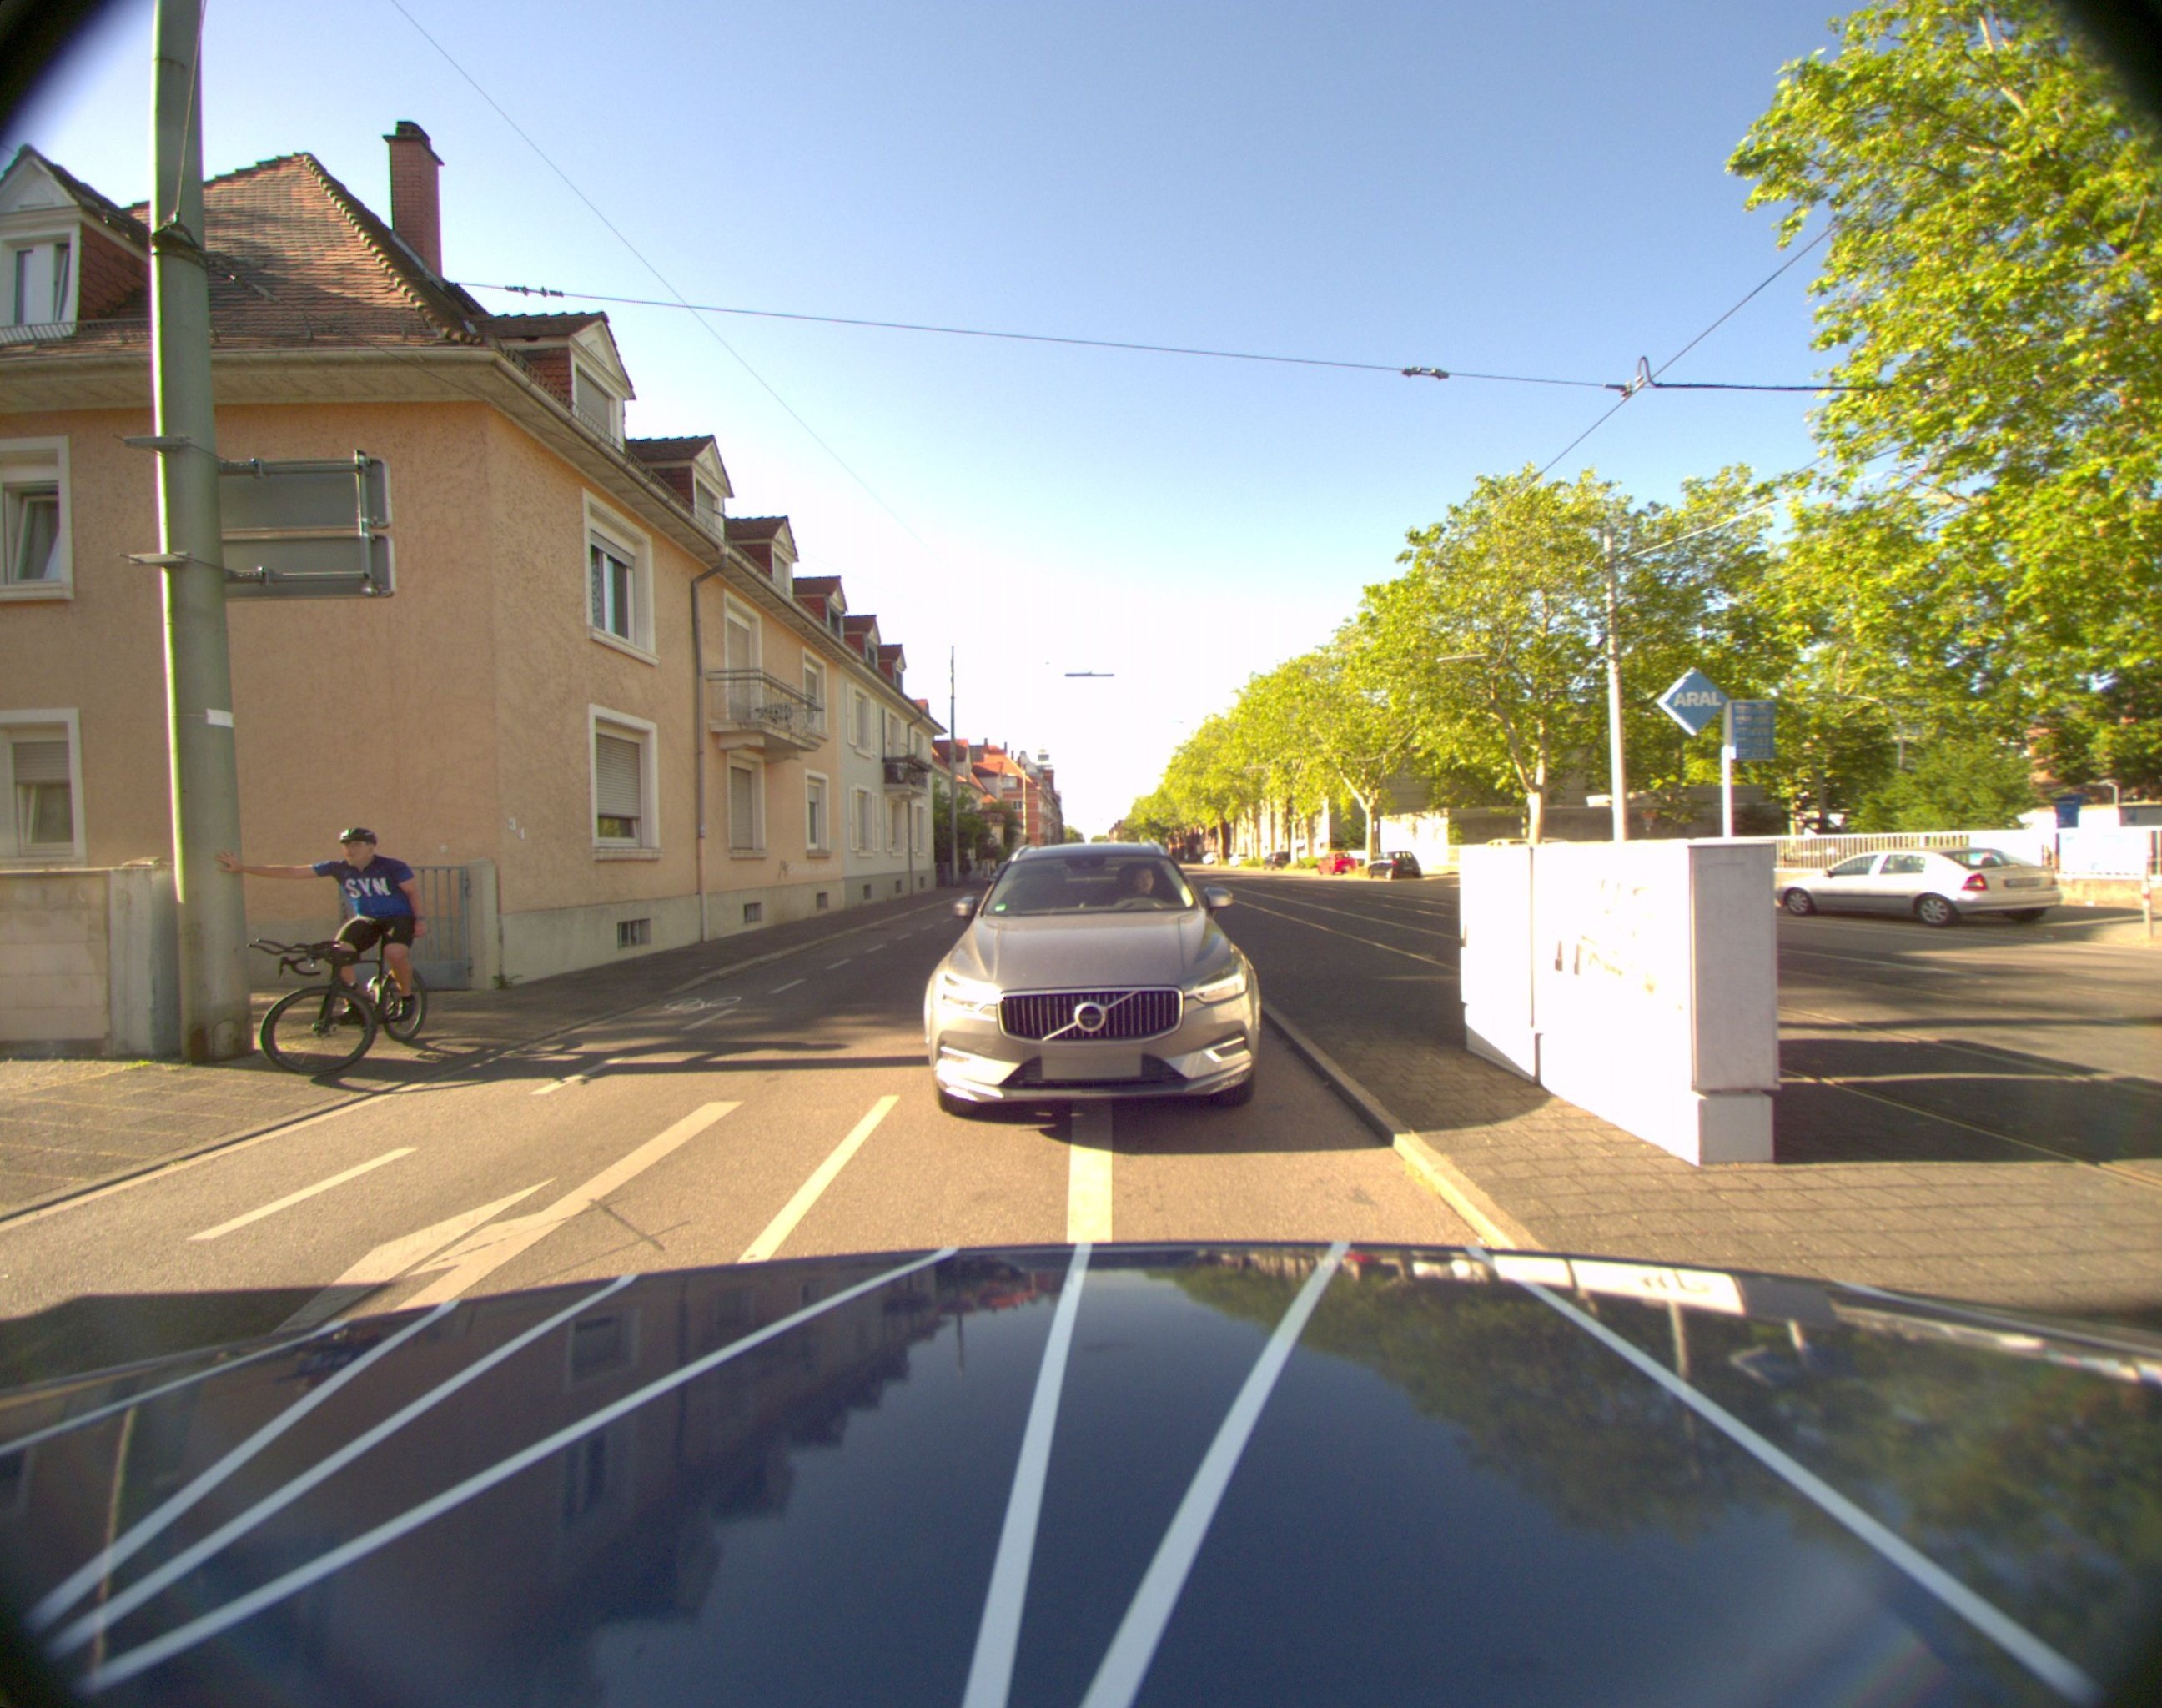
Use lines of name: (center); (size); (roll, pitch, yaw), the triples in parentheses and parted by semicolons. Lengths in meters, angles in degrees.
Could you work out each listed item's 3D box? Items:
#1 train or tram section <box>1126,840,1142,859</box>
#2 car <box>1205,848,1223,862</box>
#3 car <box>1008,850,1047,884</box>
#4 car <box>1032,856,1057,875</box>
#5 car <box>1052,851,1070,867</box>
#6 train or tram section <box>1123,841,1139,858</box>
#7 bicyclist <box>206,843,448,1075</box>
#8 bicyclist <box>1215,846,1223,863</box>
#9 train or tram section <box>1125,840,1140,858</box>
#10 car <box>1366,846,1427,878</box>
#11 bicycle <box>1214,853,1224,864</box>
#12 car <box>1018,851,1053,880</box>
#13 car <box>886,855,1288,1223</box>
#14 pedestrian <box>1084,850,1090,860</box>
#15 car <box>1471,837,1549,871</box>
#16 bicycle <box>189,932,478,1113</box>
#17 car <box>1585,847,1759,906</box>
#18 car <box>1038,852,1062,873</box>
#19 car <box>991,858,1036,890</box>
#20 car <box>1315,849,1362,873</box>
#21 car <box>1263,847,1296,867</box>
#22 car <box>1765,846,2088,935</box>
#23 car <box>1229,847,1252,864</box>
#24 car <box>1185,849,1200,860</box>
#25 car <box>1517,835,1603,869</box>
train or tram section: (10.036, -0.860, 145.777); (2.861, 3.456, 10.185); (-1, 0, 3)
car: (17.614, 0.071, 100.910); (1.845, 1.664, 4.098); (-4, 0, 3)
car: (-2.917, 0.681, 42.325); (1.847, 1.742, 4.144); (-1, 0, 0)
car: (-2.864, 0.855, 60.412); (1.808, 1.402, 3.999); (-1, 0, -1)
car: (-2.226, 0.545, 85.490); (1.999, 1.641, 4.658); (-1, 0, -1)
train or tram section: (10.898, -1.067, 166.090); (2.843, 3.456, 10.182); (-2, 1, 1)
bicyclist: (-6.163, 0.807, 6.278); (1.071, 1.728, 0.853); (4, 1, 1)
bicyclist: (15.161, 0.024, 83.475); (0.720, 1.853, 1.071); (-1, 1, 0)
train or tram section: (10.571, -0.966, 155.912); (2.843, 3.456, 10.183); (-2, 1, 3)
car: (16.979, 0.405, 41.091); (1.845, 1.524, 4.001); (-4, 0, 4)
bicycle: (15.100, 0.471, 83.447); (0.654, 1.114, 2.533); (-1, 0, 1)
car: (-2.753, 0.657, 46.751); (1.847, 1.681, 4.000); (-1, 0, 0)
car: (0.010, 0.885, 5.793); (1.892, 1.695, 4.318); (-1, 0, -1)
pedestrian: (1.220, 0.282, 158.889); (1.104, 2.002, 1.242); (-2, 1, 1)
car: (21.762, -0.031, 38.718); (1.845, 1.524, 4.001); (-4, 0, 4)
bicycle: (-5.919, 1.273, 6.181); (0.594, 1.045, 1.719); (4, 1, 1)
car: (16.528, 0.564, 21.554); (1.845, 1.400, 4.138); (-4, 0, 4)
car: (-2.659, 0.690, 65.775); (1.847, 1.681, 4.000); (-1, 0, 0)
car: (-3.217, 0.942, 36.982); (1.847, 1.412, 3.999); (-1, 0, -1)
car: (16.975, 0.442, 50.315); (1.845, 1.400, 4.001); (-4, 0, 3)
car: (17.184, 0.220, 65.899); (1.845, 1.607, 4.098); (-4, 0, 3)
car: (16.245, 0.614, 14.981); (1.846, 1.400, 3.999); (-4, 0, -1)
car: (17.507, 0.113, 83.548); (1.845, 1.664, 4.098); (-4, 0, 3)
car: (18.391, -0.013, 125.414); (1.845, 1.664, 4.098); (-4, 0, 3)
car: (24.056, -0.114, 38.340); (1.845, 1.524, 4.000); (-4, 0, 2)
